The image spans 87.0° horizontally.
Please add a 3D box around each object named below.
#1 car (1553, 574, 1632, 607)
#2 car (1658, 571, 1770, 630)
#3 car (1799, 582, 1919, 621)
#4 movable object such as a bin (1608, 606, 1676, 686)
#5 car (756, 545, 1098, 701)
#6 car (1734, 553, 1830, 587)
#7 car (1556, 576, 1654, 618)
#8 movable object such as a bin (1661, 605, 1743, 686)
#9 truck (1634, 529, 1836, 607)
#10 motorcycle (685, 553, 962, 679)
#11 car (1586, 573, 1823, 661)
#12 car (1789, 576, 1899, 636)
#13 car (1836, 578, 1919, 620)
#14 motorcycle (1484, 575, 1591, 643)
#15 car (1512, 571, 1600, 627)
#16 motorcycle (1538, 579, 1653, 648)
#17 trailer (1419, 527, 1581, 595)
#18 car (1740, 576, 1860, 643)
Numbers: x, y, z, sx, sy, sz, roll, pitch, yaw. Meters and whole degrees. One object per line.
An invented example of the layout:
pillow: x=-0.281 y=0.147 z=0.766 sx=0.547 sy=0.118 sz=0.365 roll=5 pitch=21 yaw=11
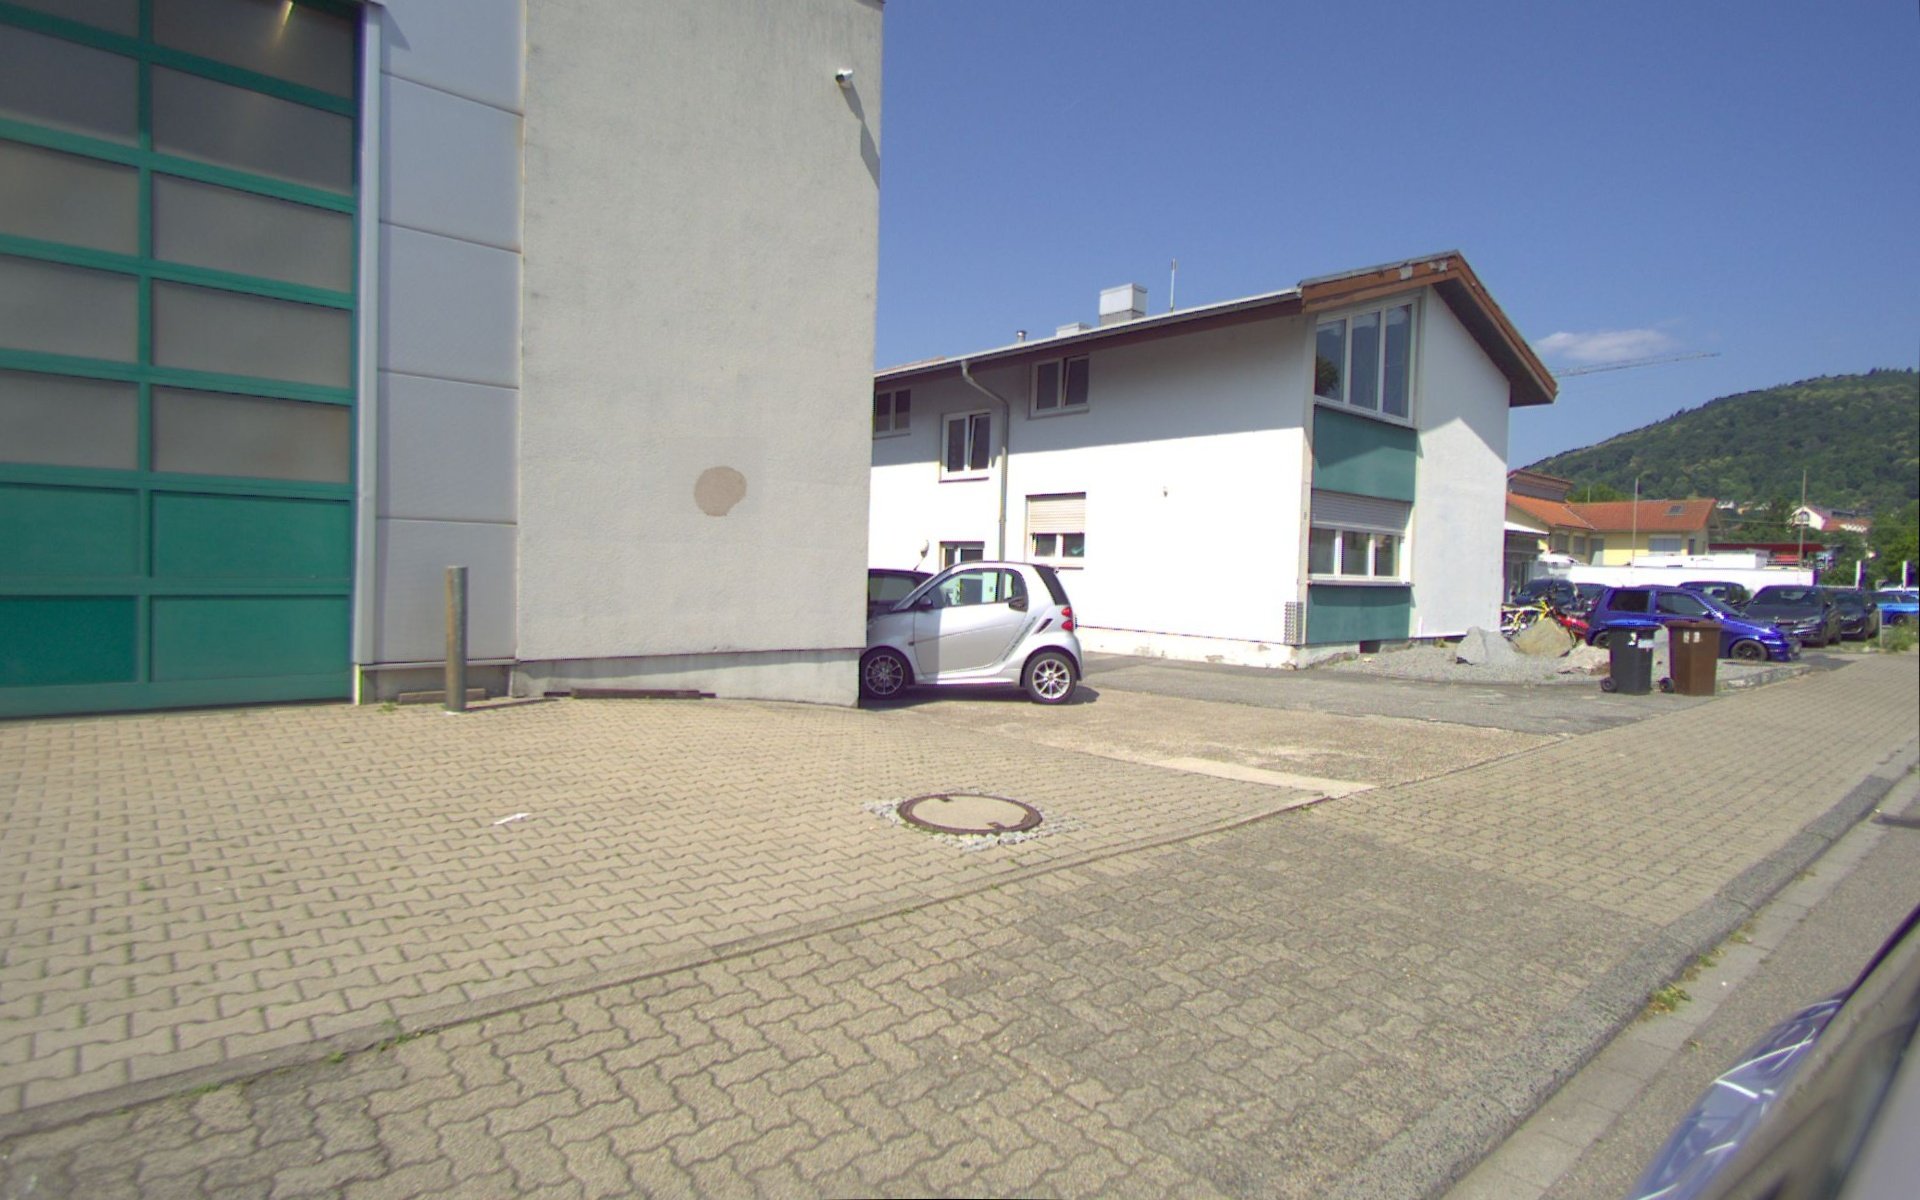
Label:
car: x=29.984 y=-0.462 z=47.954 sx=3.953 sy=1.409 sz=1.892 roll=-1 pitch=4 yaw=-38
car: x=22.416 y=-0.017 z=30.059 sx=3.552 sy=1.614 sz=1.765 roll=0 pitch=2 yaw=-38
car: x=35.708 y=0.030 z=39.505 sx=1.859 sy=1.459 sz=4.360 roll=0 pitch=1 yaw=-41
movable object such as a bin: x=8.604 y=0.571 z=12.776 sx=0.478 sy=0.957 sz=0.516 roll=1 pitch=2 yaw=-29
car: x=-0.359 y=0.207 z=11.760 sx=3.633 sy=1.558 sz=1.779 roll=2 pitch=2 yaw=1
car: x=70.979 y=-2.635 z=87.502 sx=5.961 sy=2.711 sz=2.239 roll=3 pitch=3 yaw=27
car: x=22.499 y=-0.128 z=35.253 sx=4.026 sy=1.340 sz=1.646 roll=-1 pitch=3 yaw=-39
movable object such as a bin: x=9.308 y=0.562 z=12.712 sx=0.546 sy=0.957 sz=0.570 roll=1 pitch=2 yaw=-7
truck: x=38.070 y=-1.469 z=49.974 sx=2.483 sy=3.466 sz=7.531 roll=-1 pitch=0 yaw=-40
motorcycle: x=-1.764 y=0.169 z=13.950 sx=3.541 sy=1.510 sz=1.779 roll=2 pitch=2 yaw=1
car: x=13.889 y=0.265 z=18.998 sx=1.643 sy=1.416 sz=3.260 roll=1 pitch=2 yaw=-40
car: x=26.405 y=0.127 z=30.160 sx=4.866 sy=1.587 sz=1.861 roll=-1 pitch=3 yaw=-42
car: x=40.213 y=-0.059 z=43.069 sx=1.736 sy=1.703 sz=4.206 roll=-2 pitch=-1 yaw=-41
motorcycle: x=12.034 y=0.166 z=21.158 sx=1.732 sy=1.295 sz=0.792 roll=3 pitch=3 yaw=19
car: x=18.394 y=-0.094 z=31.161 sx=1.757 sy=1.514 sz=4.094 roll=4 pitch=4 yaw=38
motorcycle: x=13.409 y=0.257 z=21.384 sx=0.783 sy=1.295 sz=1.872 roll=0 pitch=4 yaw=-43
trailer: x=33.478 y=-2.481 z=63.135 sx=3.010 sy=3.910 sz=8.364 roll=-1 pitch=3 yaw=-35
car: x=22.210 y=0.200 z=26.705 sx=4.219 sy=1.577 sz=1.815 roll=-1 pitch=3 yaw=-42
